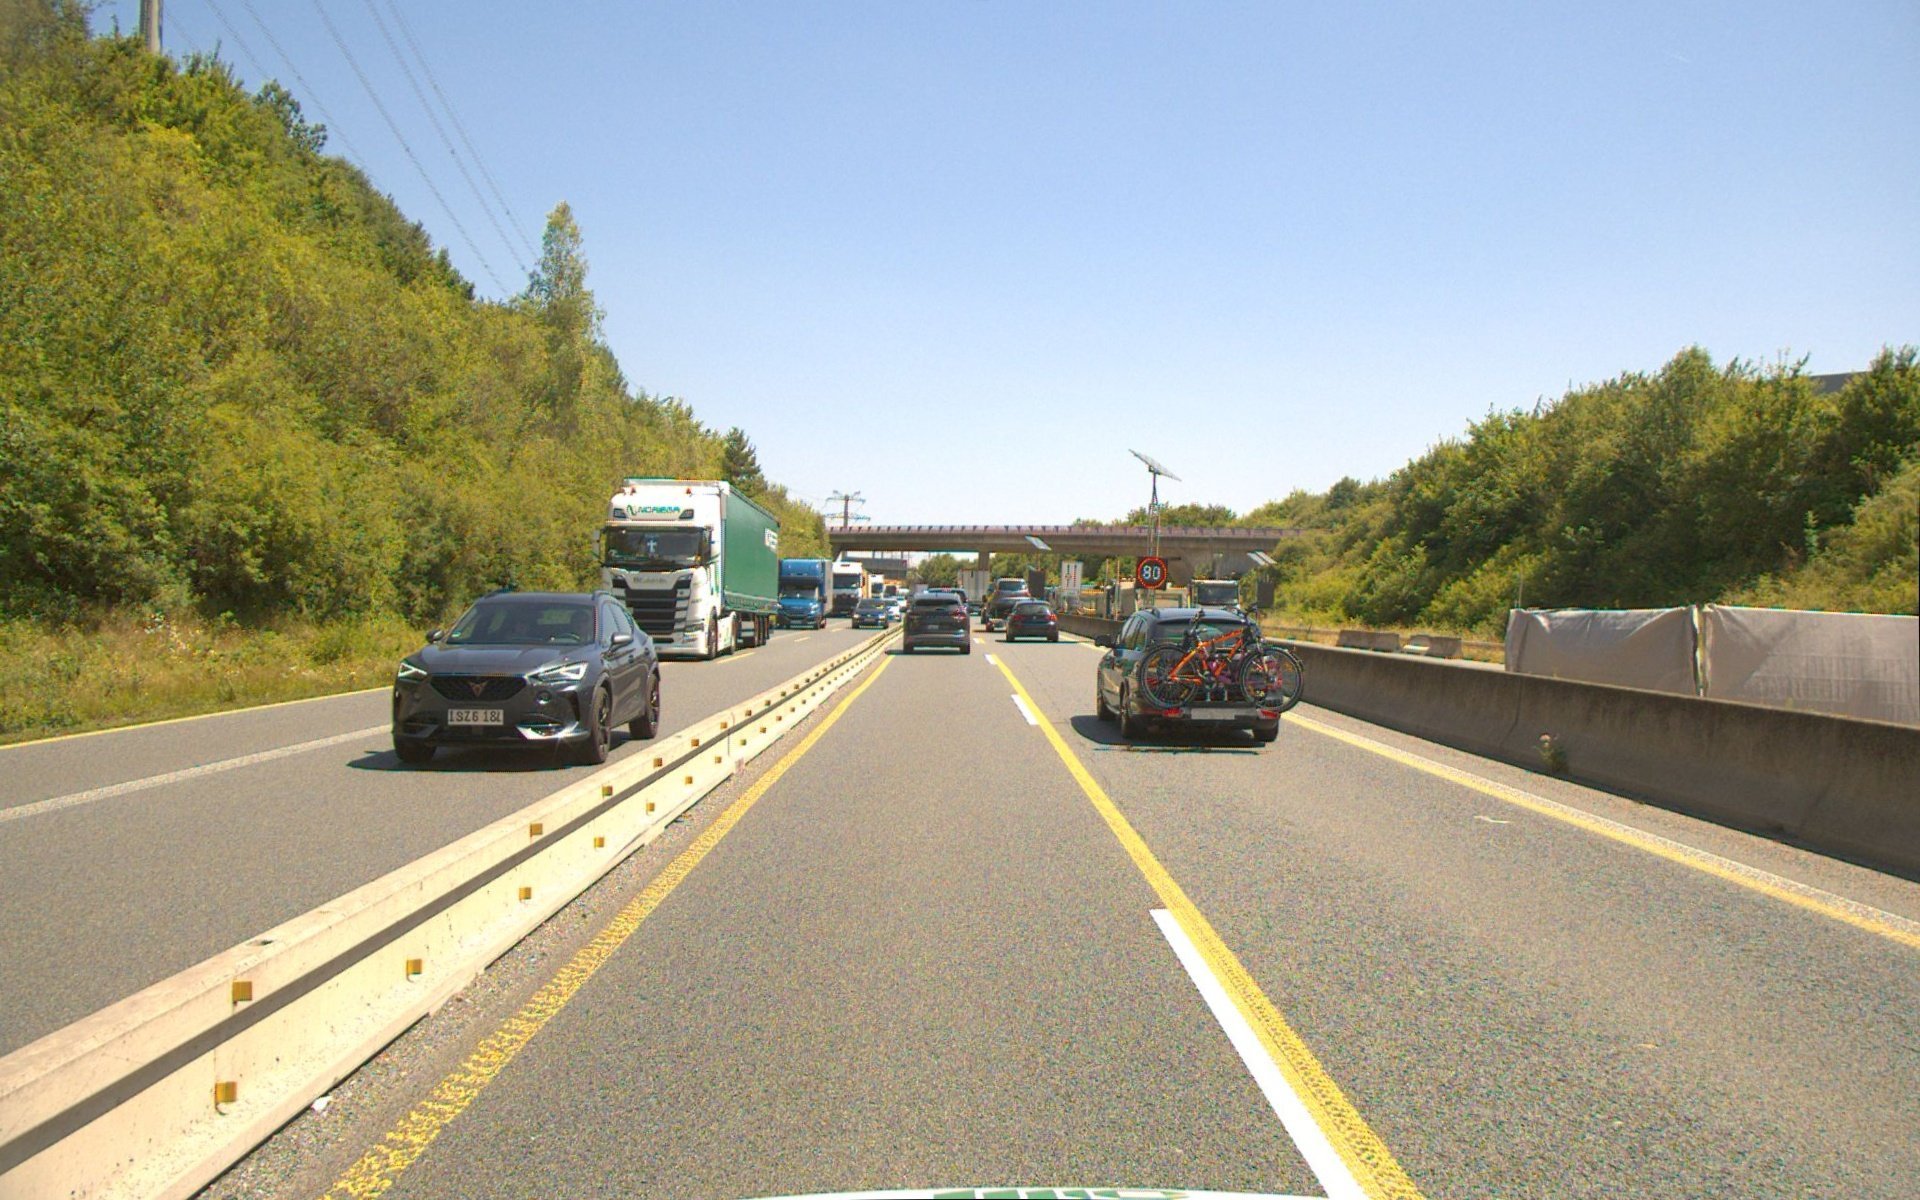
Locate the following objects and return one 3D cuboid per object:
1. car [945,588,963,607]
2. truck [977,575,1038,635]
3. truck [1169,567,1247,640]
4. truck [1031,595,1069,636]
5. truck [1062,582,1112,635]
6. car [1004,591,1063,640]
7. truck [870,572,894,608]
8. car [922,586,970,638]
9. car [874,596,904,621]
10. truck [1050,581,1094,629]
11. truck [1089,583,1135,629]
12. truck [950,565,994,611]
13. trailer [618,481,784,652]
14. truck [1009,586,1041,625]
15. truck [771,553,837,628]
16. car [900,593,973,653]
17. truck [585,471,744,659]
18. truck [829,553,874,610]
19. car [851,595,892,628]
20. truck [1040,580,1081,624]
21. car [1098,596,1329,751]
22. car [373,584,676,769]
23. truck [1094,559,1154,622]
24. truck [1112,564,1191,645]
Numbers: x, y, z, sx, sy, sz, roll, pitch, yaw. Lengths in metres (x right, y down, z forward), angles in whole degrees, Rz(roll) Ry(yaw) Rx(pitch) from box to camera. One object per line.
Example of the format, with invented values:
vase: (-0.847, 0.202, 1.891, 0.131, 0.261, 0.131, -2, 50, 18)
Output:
car: (-0.672, -0.295, 180.752, 1.860, 2.003, 4.276, 1, 0, 0)
truck: (2.151, 0.196, 77.100, 2.357, 2.603, 7.497, 1, 0, -2)
truck: (12.788, 0.165, 85.830, 2.633, 3.572, 8.378, 1, 0, -1)
truck: (8.209, 1.371, 151.705, 2.633, 3.619, 9.322, 1, 0, -2)
truck: (9.041, 0.582, 118.721, 2.632, 3.619, 9.601, 1, 0, -1)
car: (2.556, 0.534, 58.635, 1.860, 1.613, 4.276, 1, 0, 0)
truck: (-9.043, -1.131, 192.592, 2.360, 4.062, 10.351, 1, 0, 0)
car: (-0.568, 0.469, 67.161, 1.860, 2.003, 4.276, 1, 0, 0)
car: (-4.484, 0.540, 104.757, 1.804, 1.516, 4.509, 0, 0, -1)
truck: (8.756, 0.348, 130.191, 2.633, 3.619, 9.403, 1, 0, -1)
truck: (11.776, 0.451, 128.908, 2.632, 3.437, 9.602, 1, 0, 0)
truck: (0.979, -1.035, 146.223, 3.227, 3.912, 10.103, 1, 0, -3)
trailer: (-7.112, -0.830, 47.620, 2.833, 4.197, 13.241, 1, 0, -1)
truck: (6.610, 0.519, 170.152, 2.633, 3.826, 9.322, 1, 0, -2)
truck: (-7.341, -0.462, 78.521, 2.356, 3.388, 7.500, 1, 0, 0)
car: (-0.616, 0.590, 45.124, 1.860, 1.531, 4.276, 1, 0, 0)
truck: (-7.006, -0.784, 40.032, 2.836, 4.190, 6.019, 0, 0, -1)
truck: (-8.097, -1.345, 123.948, 2.595, 4.061, 9.650, 2, 0, 0)
car: (-4.326, 0.563, 81.167, 1.725, 1.516, 4.401, 1, 0, 0)
truck: (8.554, 0.150, 142.095, 2.633, 3.619, 9.322, 1, 0, -2)
car: (2.729, 0.743, 18.945, 1.860, 1.516, 4.947, 1, 0, 0)
car: (-4.011, 0.646, 15.986, 1.861, 1.531, 4.275, 1, 0, -1)
truck: (9.864, -0.580, 100.553, 2.487, 3.619, 9.600, 1, 0, -1)
truck: (8.939, 0.208, 77.956, 2.482, 3.572, 9.094, 1, 0, -1)
